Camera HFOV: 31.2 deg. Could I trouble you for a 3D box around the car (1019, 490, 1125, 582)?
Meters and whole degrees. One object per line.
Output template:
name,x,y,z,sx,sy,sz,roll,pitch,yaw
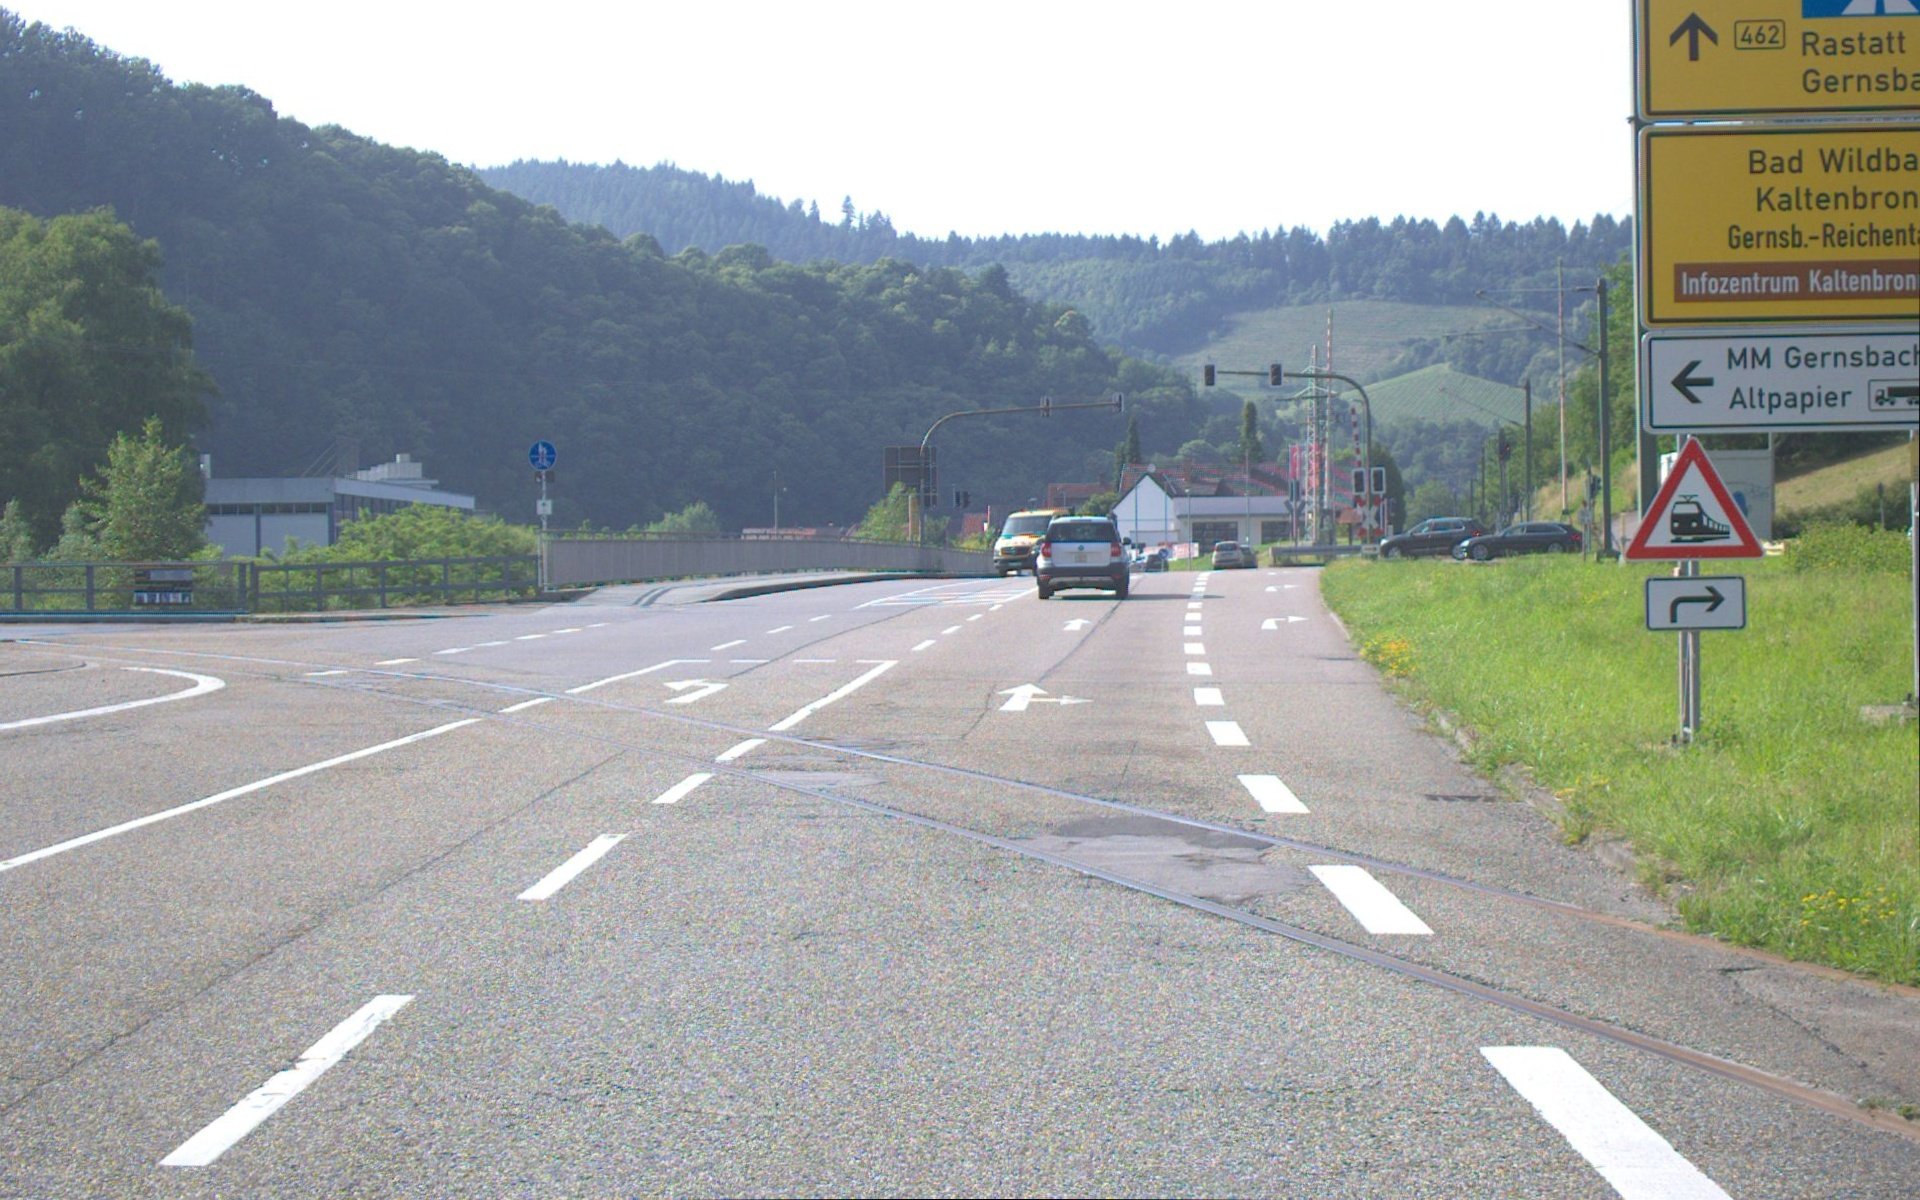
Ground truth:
car,2.293,-1.292,69.183,1.994,1.717,3.990,-3,1,3

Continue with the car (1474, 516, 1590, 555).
car,21.382,-2.413,128.546,3.991,1.350,1.876,0,2,19

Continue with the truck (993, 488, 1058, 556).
truck,2.353,-2.785,121.551,1.994,2.335,5.698,-1,2,4

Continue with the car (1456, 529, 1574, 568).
car,20.356,-1.873,126.102,3.991,1.350,1.876,0,2,19

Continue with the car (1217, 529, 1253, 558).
car,16.064,-3.303,201.281,1.994,1.612,4.000,-1,2,4

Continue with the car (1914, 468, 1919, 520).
car,36.580,-3.861,124.074,3.991,1.875,1.876,0,2,19

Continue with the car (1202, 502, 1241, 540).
car,14.288,-4.318,188.033,1.994,2.006,4.000,-1,2,4
